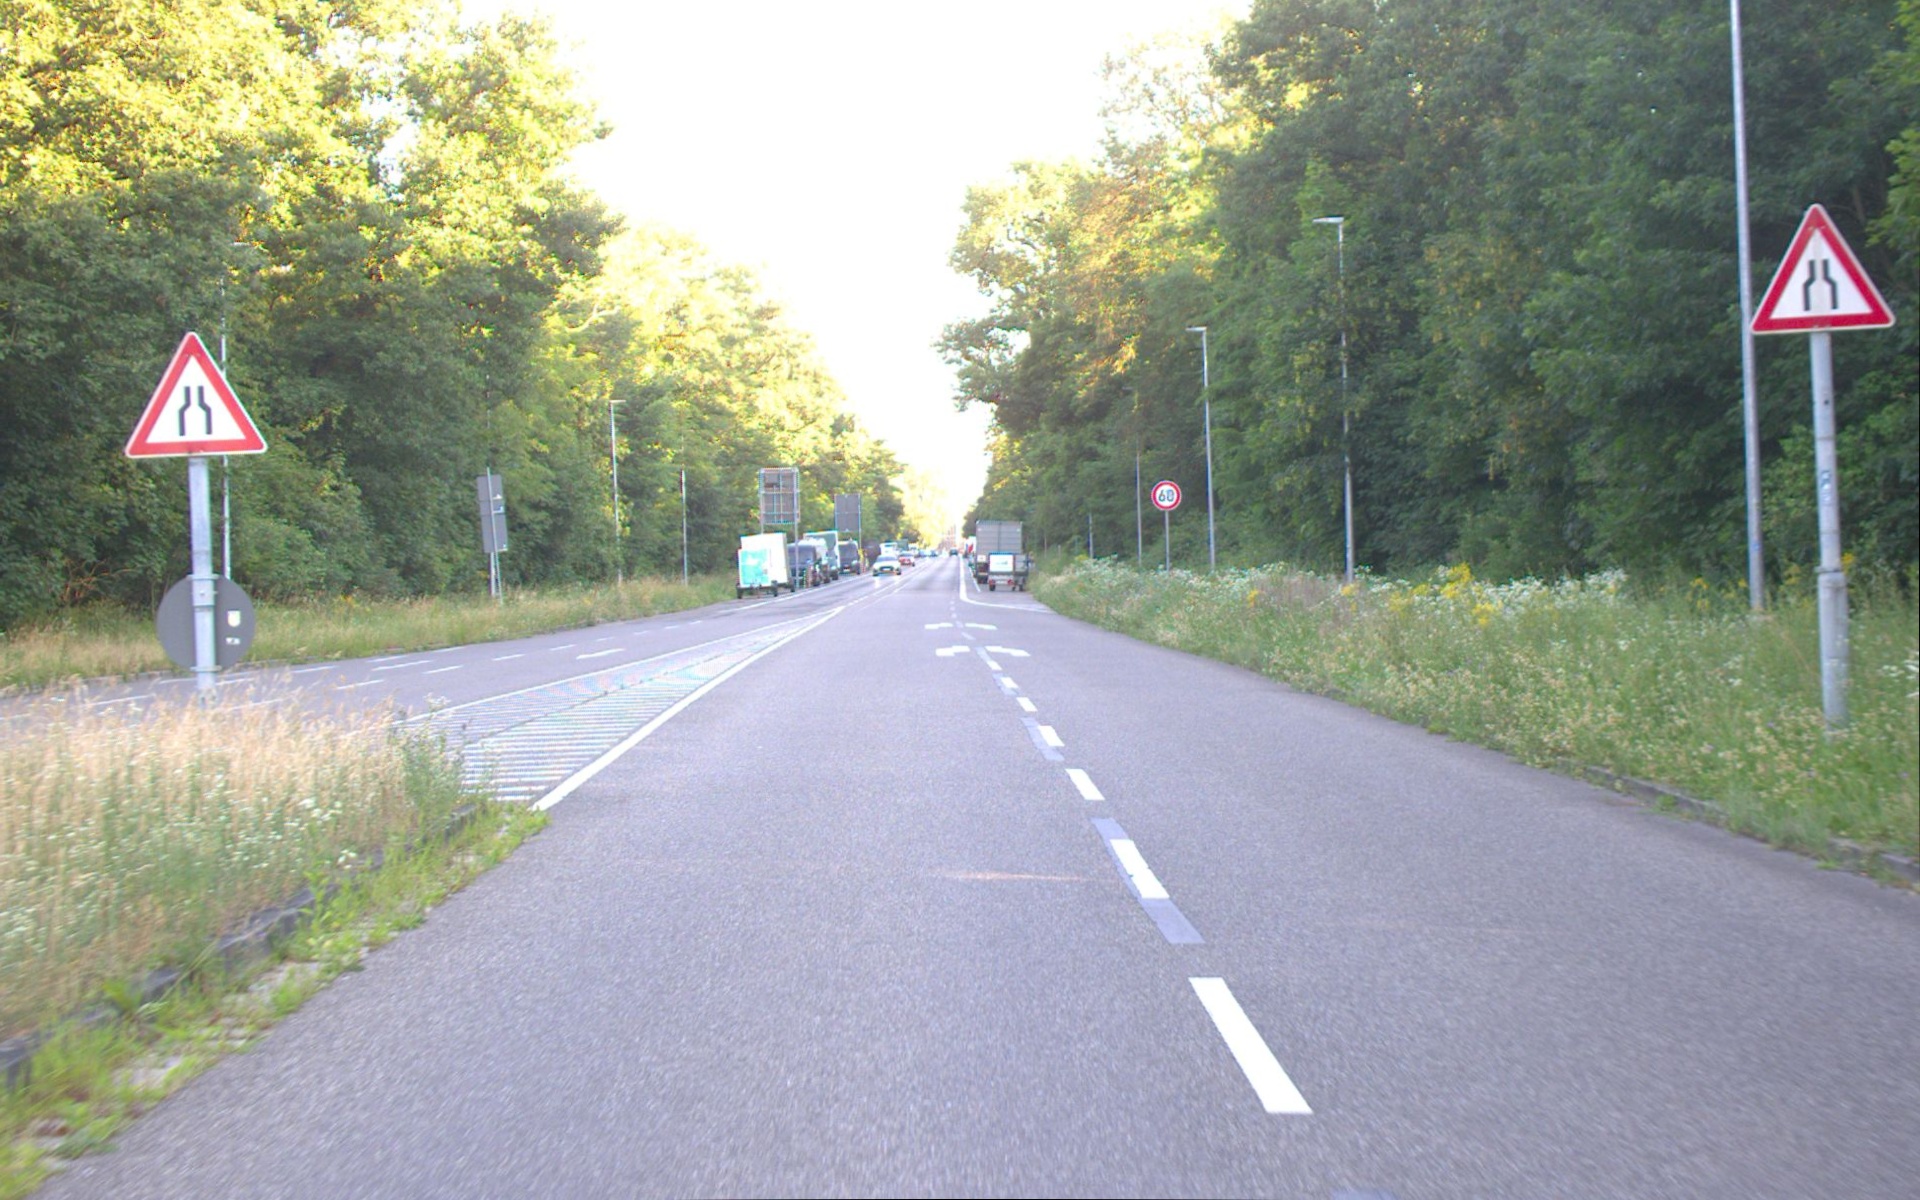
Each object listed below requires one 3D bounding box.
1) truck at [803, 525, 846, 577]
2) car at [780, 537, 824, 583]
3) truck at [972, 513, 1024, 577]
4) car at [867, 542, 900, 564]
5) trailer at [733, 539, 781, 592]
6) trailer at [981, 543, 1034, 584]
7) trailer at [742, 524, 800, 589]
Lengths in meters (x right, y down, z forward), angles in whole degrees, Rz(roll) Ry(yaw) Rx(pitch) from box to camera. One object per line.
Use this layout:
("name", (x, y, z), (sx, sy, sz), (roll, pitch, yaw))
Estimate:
("truck", (-9.118, -3.329, 231.484), (2.504, 3.317, 6.842), (-2, 1, 0))
("car", (-8.638, -2.218, 188.639), (1.993, 2.356, 5.766), (-4, 1, 0))
("truck", (2.026, -2.854, 179.545), (2.589, 3.244, 7.220), (0, 1, 1))
("car", (-5.464, -3.353, 245.606), (2.063, 1.430, 4.465), (-4, 1, 2))
("trailer", (-8.701, -1.494, 147.445), (1.817, 2.160, 4.143), (-2, 1, -1))
("trailer", (2.057, -1.589, 147.380), (1.457, 1.656, 3.775), (-2, 1, 13))
("trailer", (-8.941, -2.063, 163.053), (2.326, 2.914, 5.627), (-4, 1, -1))
